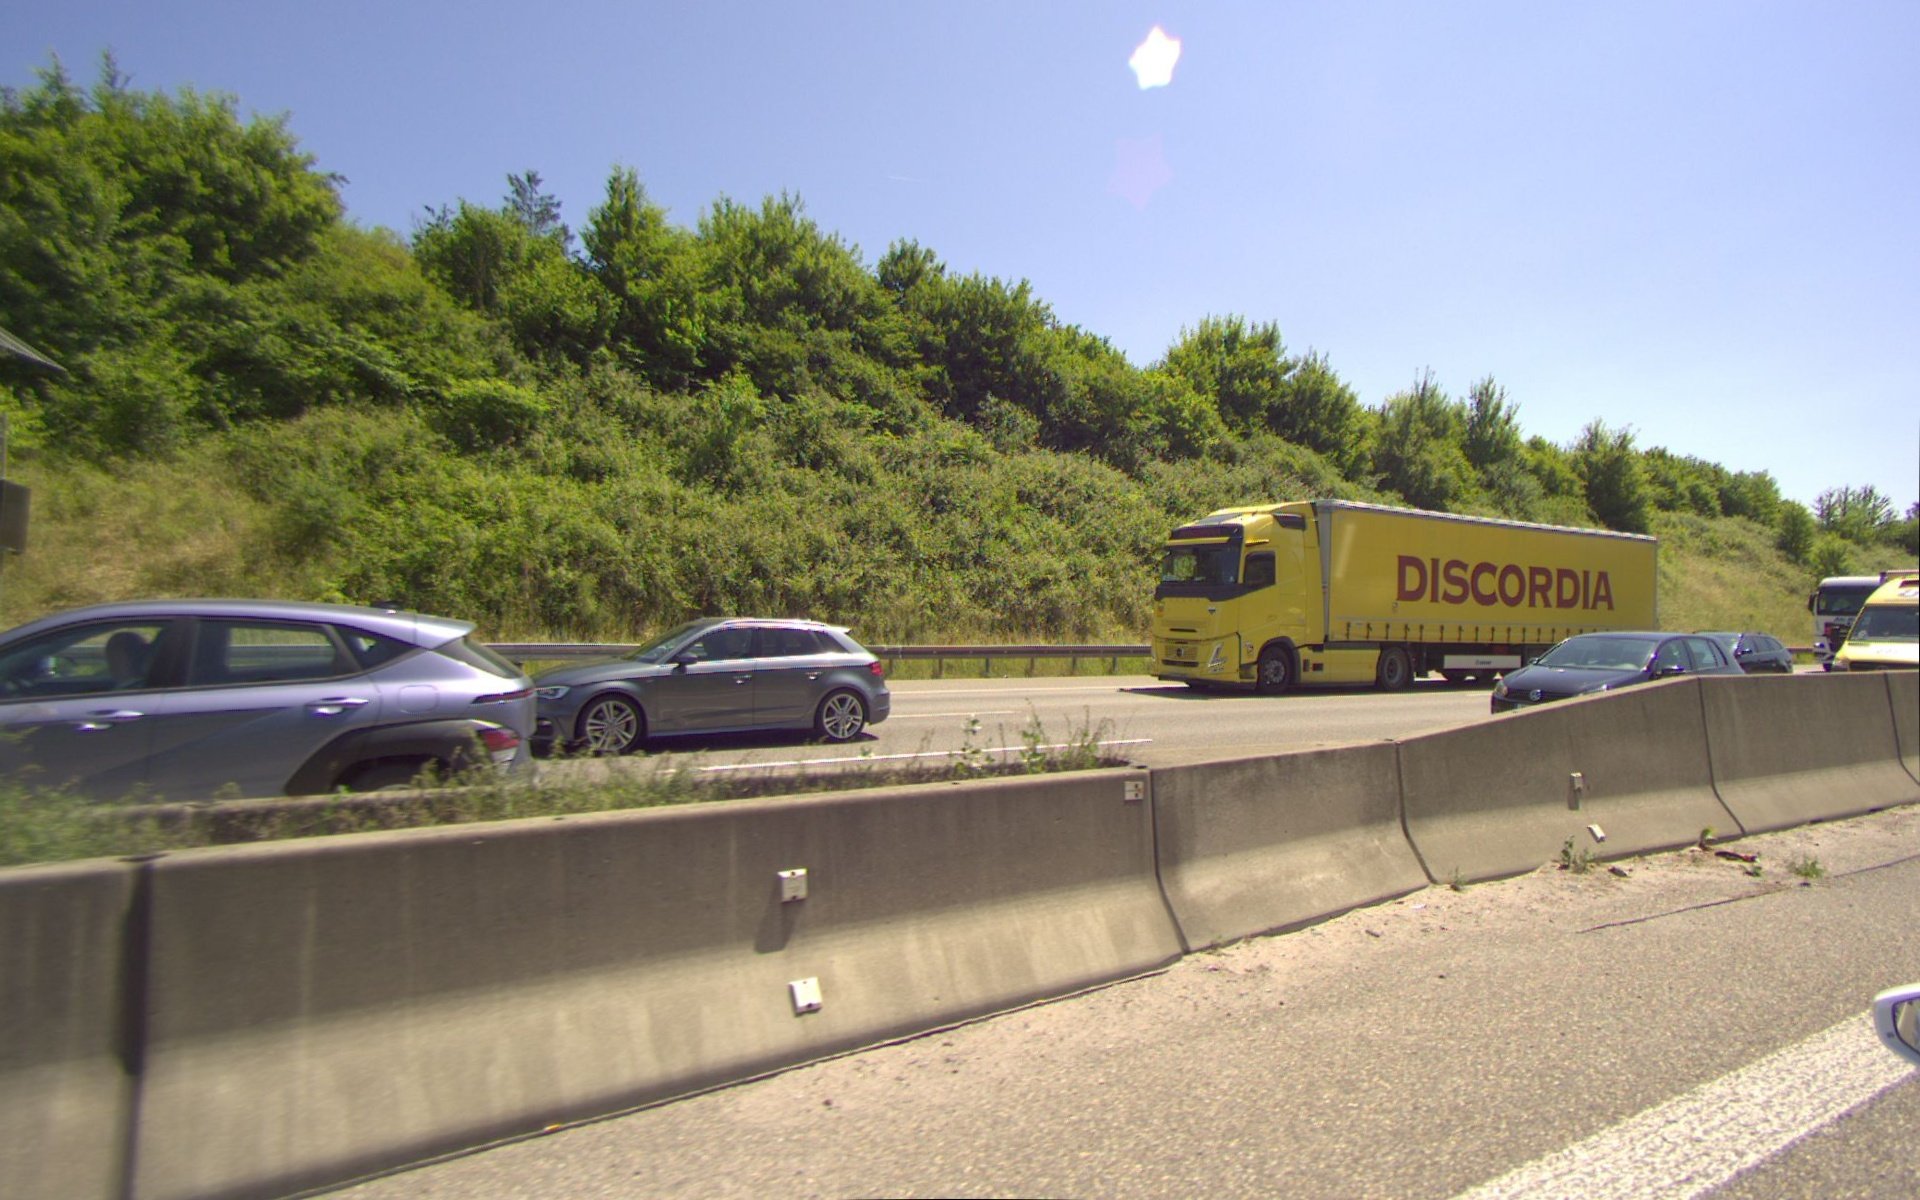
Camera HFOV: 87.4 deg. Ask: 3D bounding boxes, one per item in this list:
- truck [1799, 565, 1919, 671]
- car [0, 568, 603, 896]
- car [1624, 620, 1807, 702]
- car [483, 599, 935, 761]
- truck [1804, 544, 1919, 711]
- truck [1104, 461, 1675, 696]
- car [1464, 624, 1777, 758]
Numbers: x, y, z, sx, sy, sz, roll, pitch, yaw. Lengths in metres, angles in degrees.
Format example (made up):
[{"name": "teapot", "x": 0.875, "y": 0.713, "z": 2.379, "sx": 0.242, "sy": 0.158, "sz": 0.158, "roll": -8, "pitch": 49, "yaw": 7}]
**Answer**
[{"name": "truck", "x": 35.109, "y": 0.729, "z": 38.627, "sx": 5.807, "sy": 3.793, "sz": 2.664, "roll": 2, "pitch": 0, "yaw": -32}, {"name": "car", "x": -4.637, "y": 0.612, "z": 5.588, "sx": 4.707, "sy": 1.517, "sz": 1.818, "roll": 2, "pitch": 0, "yaw": -32}, {"name": "car", "x": 18.471, "y": 1.471, "z": 24.498, "sx": 4.933, "sy": 1.788, "sz": 1.818, "roll": 2, "pitch": 0, "yaw": -31}, {"name": "car", "x": -2.780, "y": 0.843, "z": 11.550, "sx": 4.707, "sy": 1.517, "sz": 1.818, "roll": 2, "pitch": 0, "yaw": -32}, {"name": "truck", "x": 20.230, "y": 0.614, "z": 20.540, "sx": 6.695, "sy": 3.056, "sz": 2.258, "roll": 2, "pitch": 0, "yaw": -29}, {"name": "truck", "x": 11.594, "y": -0.129, "z": 25.290, "sx": 17.179, "sy": 4.515, "sz": 3.678, "roll": 2, "pitch": 0, "yaw": -30}, {"name": "car", "x": 9.213, "y": 1.177, "z": 13.891, "sx": 4.707, "sy": 1.517, "sz": 1.818, "roll": 2, "pitch": 0, "yaw": -32}]
